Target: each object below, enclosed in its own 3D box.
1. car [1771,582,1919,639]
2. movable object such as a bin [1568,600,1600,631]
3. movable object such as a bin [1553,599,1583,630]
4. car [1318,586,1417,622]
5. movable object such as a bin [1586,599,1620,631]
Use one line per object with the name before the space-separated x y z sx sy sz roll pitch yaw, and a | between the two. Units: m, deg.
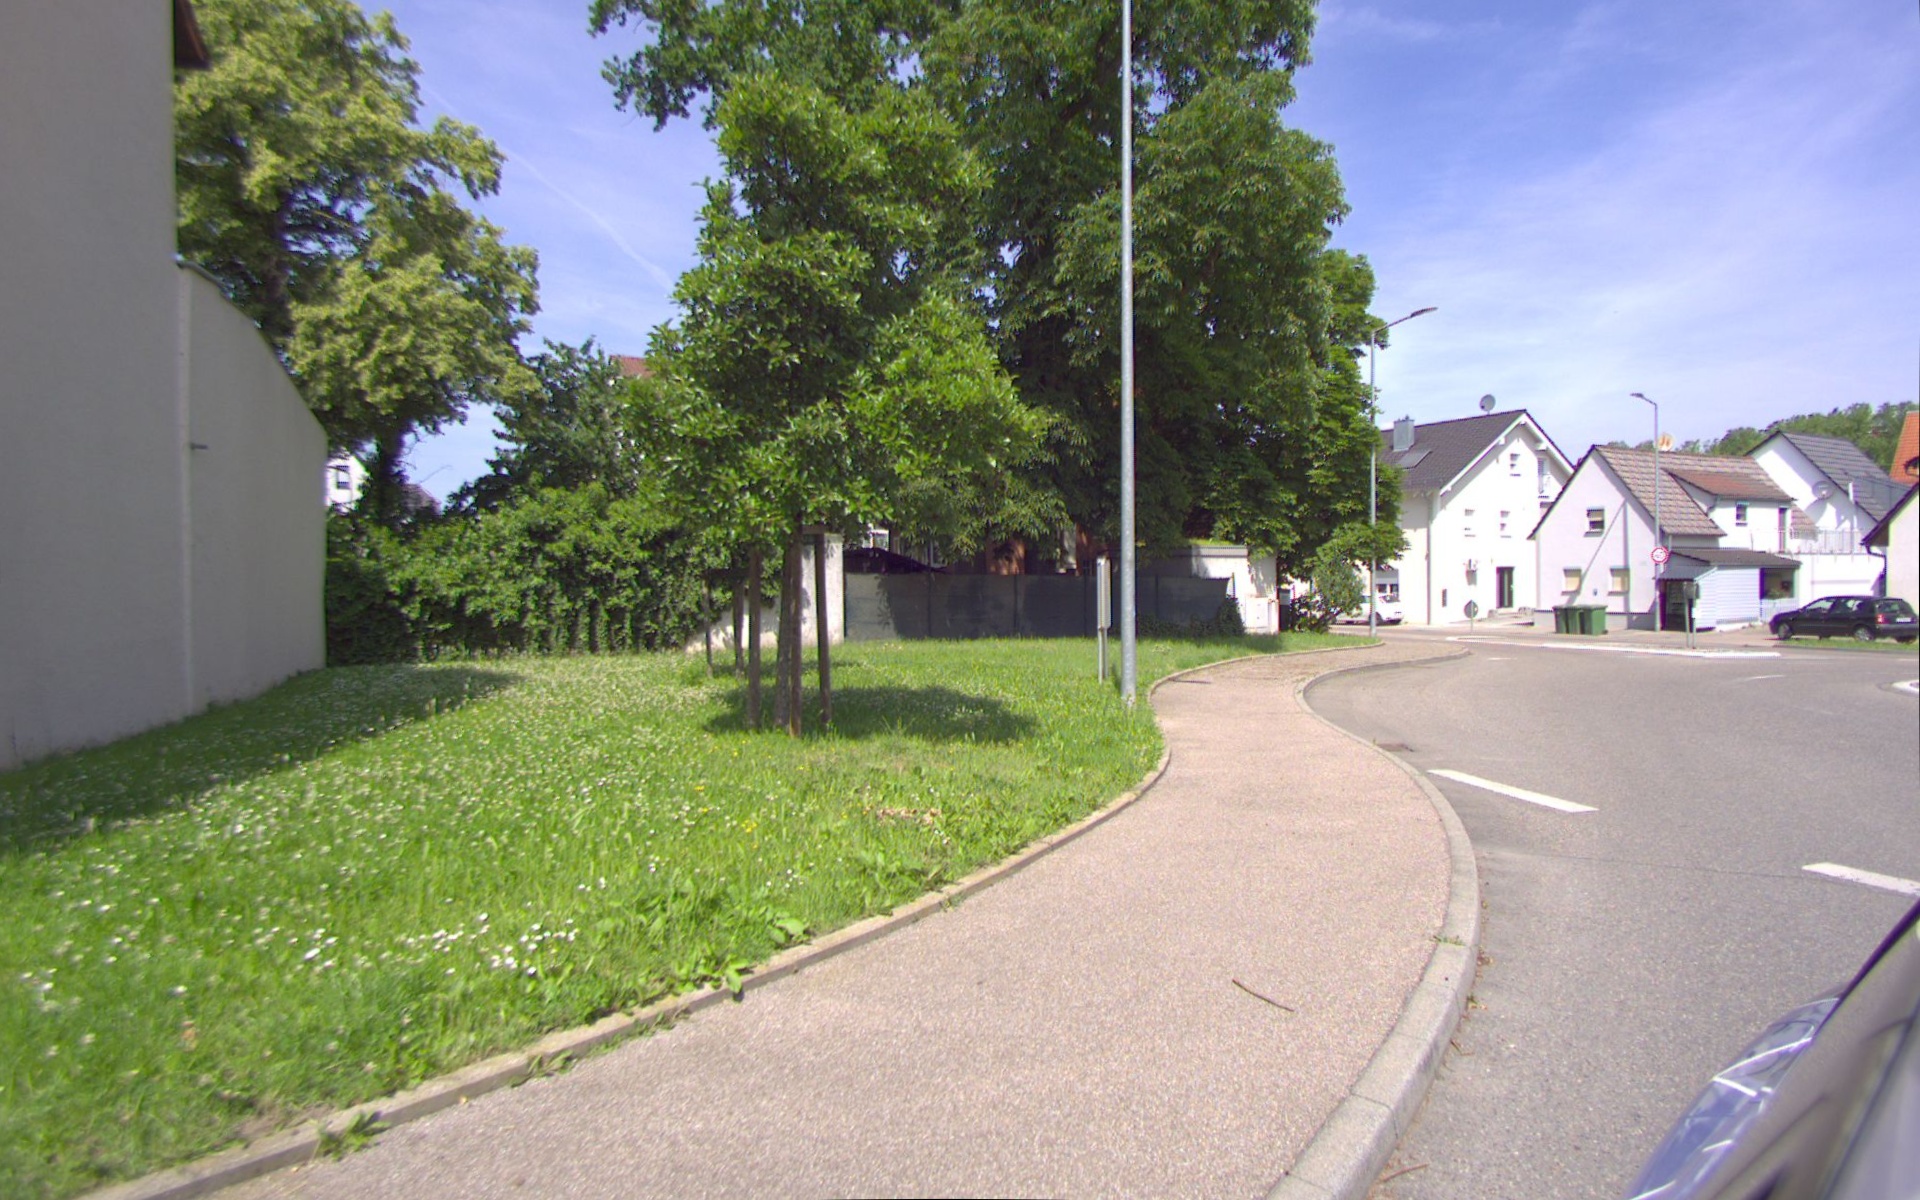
car | 26.877 0.266 30.343 1.743 1.458 3.853 -3 2 -6
movable object such as a bin | 22.791 0.553 36.954 0.717 1.090 0.634 -3 0 -17
movable object such as a bin | 22.587 0.546 37.591 0.630 1.106 0.633 -3 0 -17
car | 19.075 0.167 47.513 1.791 1.521 4.002 -3 1 -32
movable object such as a bin | 23.026 0.546 36.253 0.668 1.090 0.727 -3 1 -17
